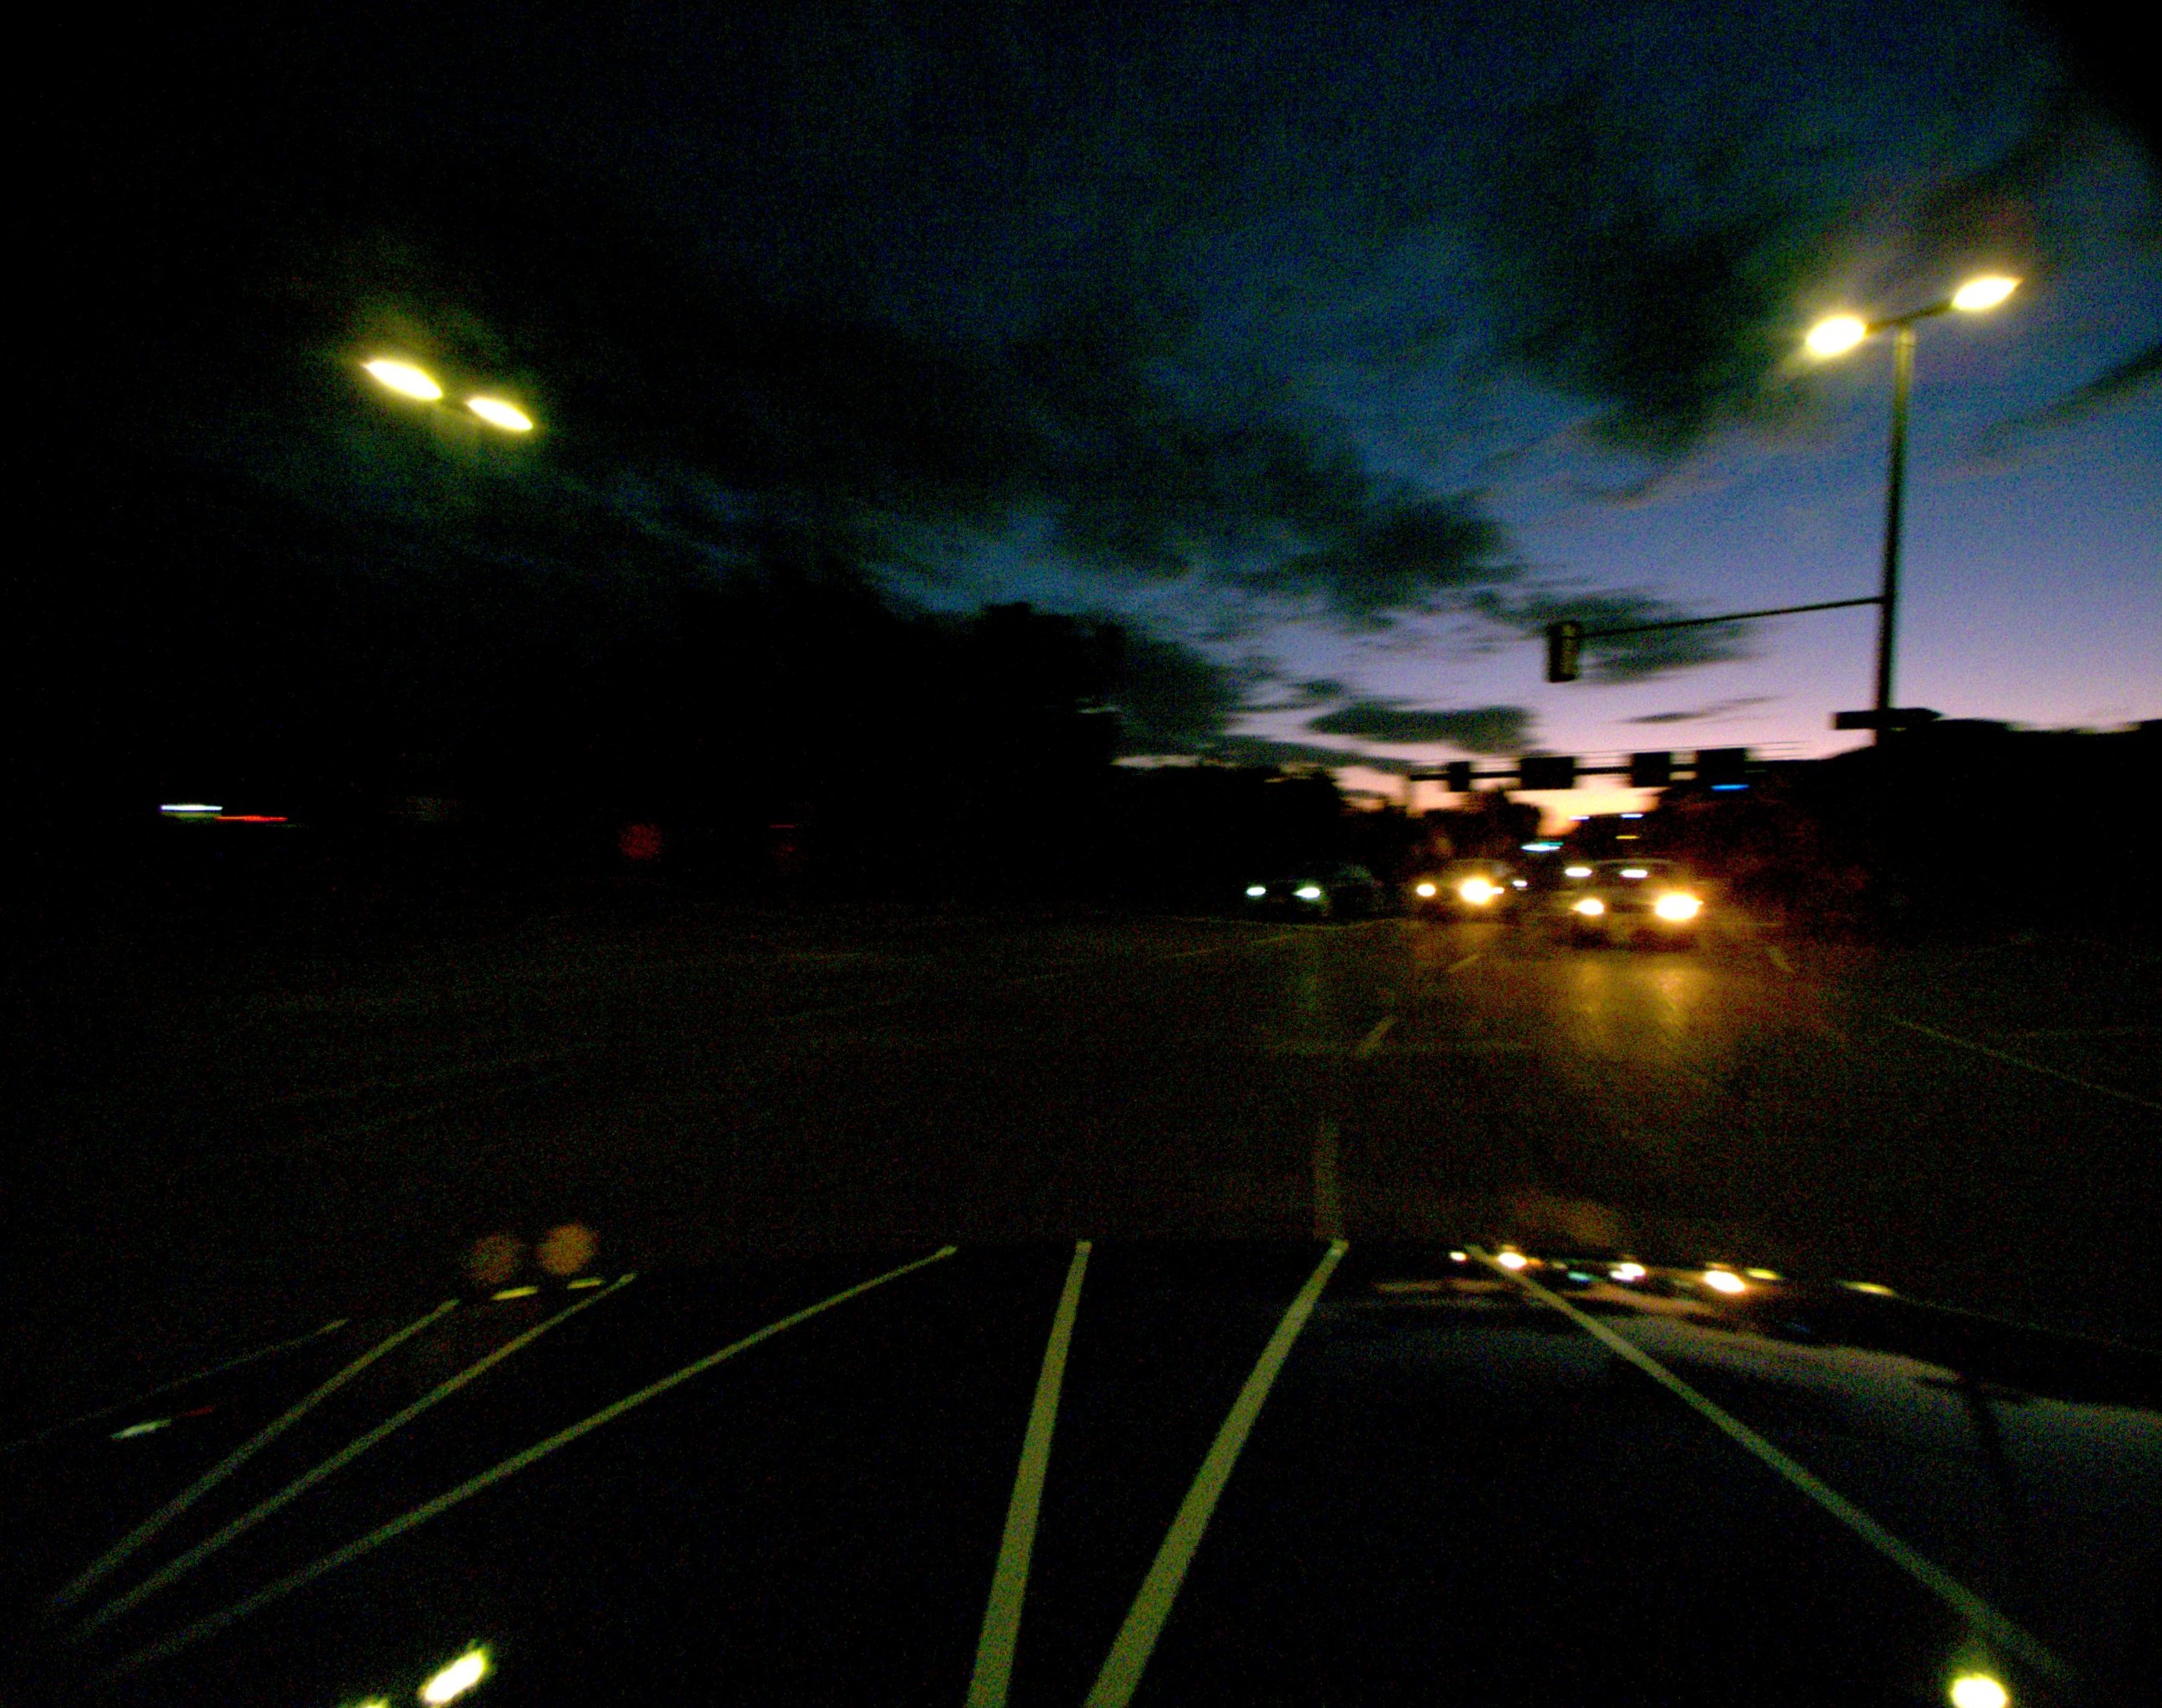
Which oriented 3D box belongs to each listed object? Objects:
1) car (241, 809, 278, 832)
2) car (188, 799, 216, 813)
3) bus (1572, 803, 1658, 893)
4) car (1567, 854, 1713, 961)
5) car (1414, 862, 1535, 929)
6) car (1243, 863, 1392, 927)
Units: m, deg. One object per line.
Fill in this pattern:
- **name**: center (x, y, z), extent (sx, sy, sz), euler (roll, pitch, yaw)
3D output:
- **car**: center (-68.802, -2.851, 63.612), extent (4.045, 1.564, 1.744), euler (7, 4, 38)
- **car**: center (-116.546, -6.358, 100.767), extent (1.702, 1.586, 3.914), euler (-1, 0, -38)
- **bus**: center (26.536, -0.285, 37.461), extent (2.608, 3.768, 12.301), euler (-1, 0, 39)
- **car**: center (10.374, 0.846, 13.956), extent (1.666, 1.643, 4.420), euler (-1, 0, 43)
- **car**: center (10.007, 0.965, 19.203), extent (1.666, 1.472, 3.784), euler (0, 0, 45)
- **car**: center (6.240, 0.962, 19.717), extent (1.791, 1.435, 4.543), euler (1, 0, 45)
